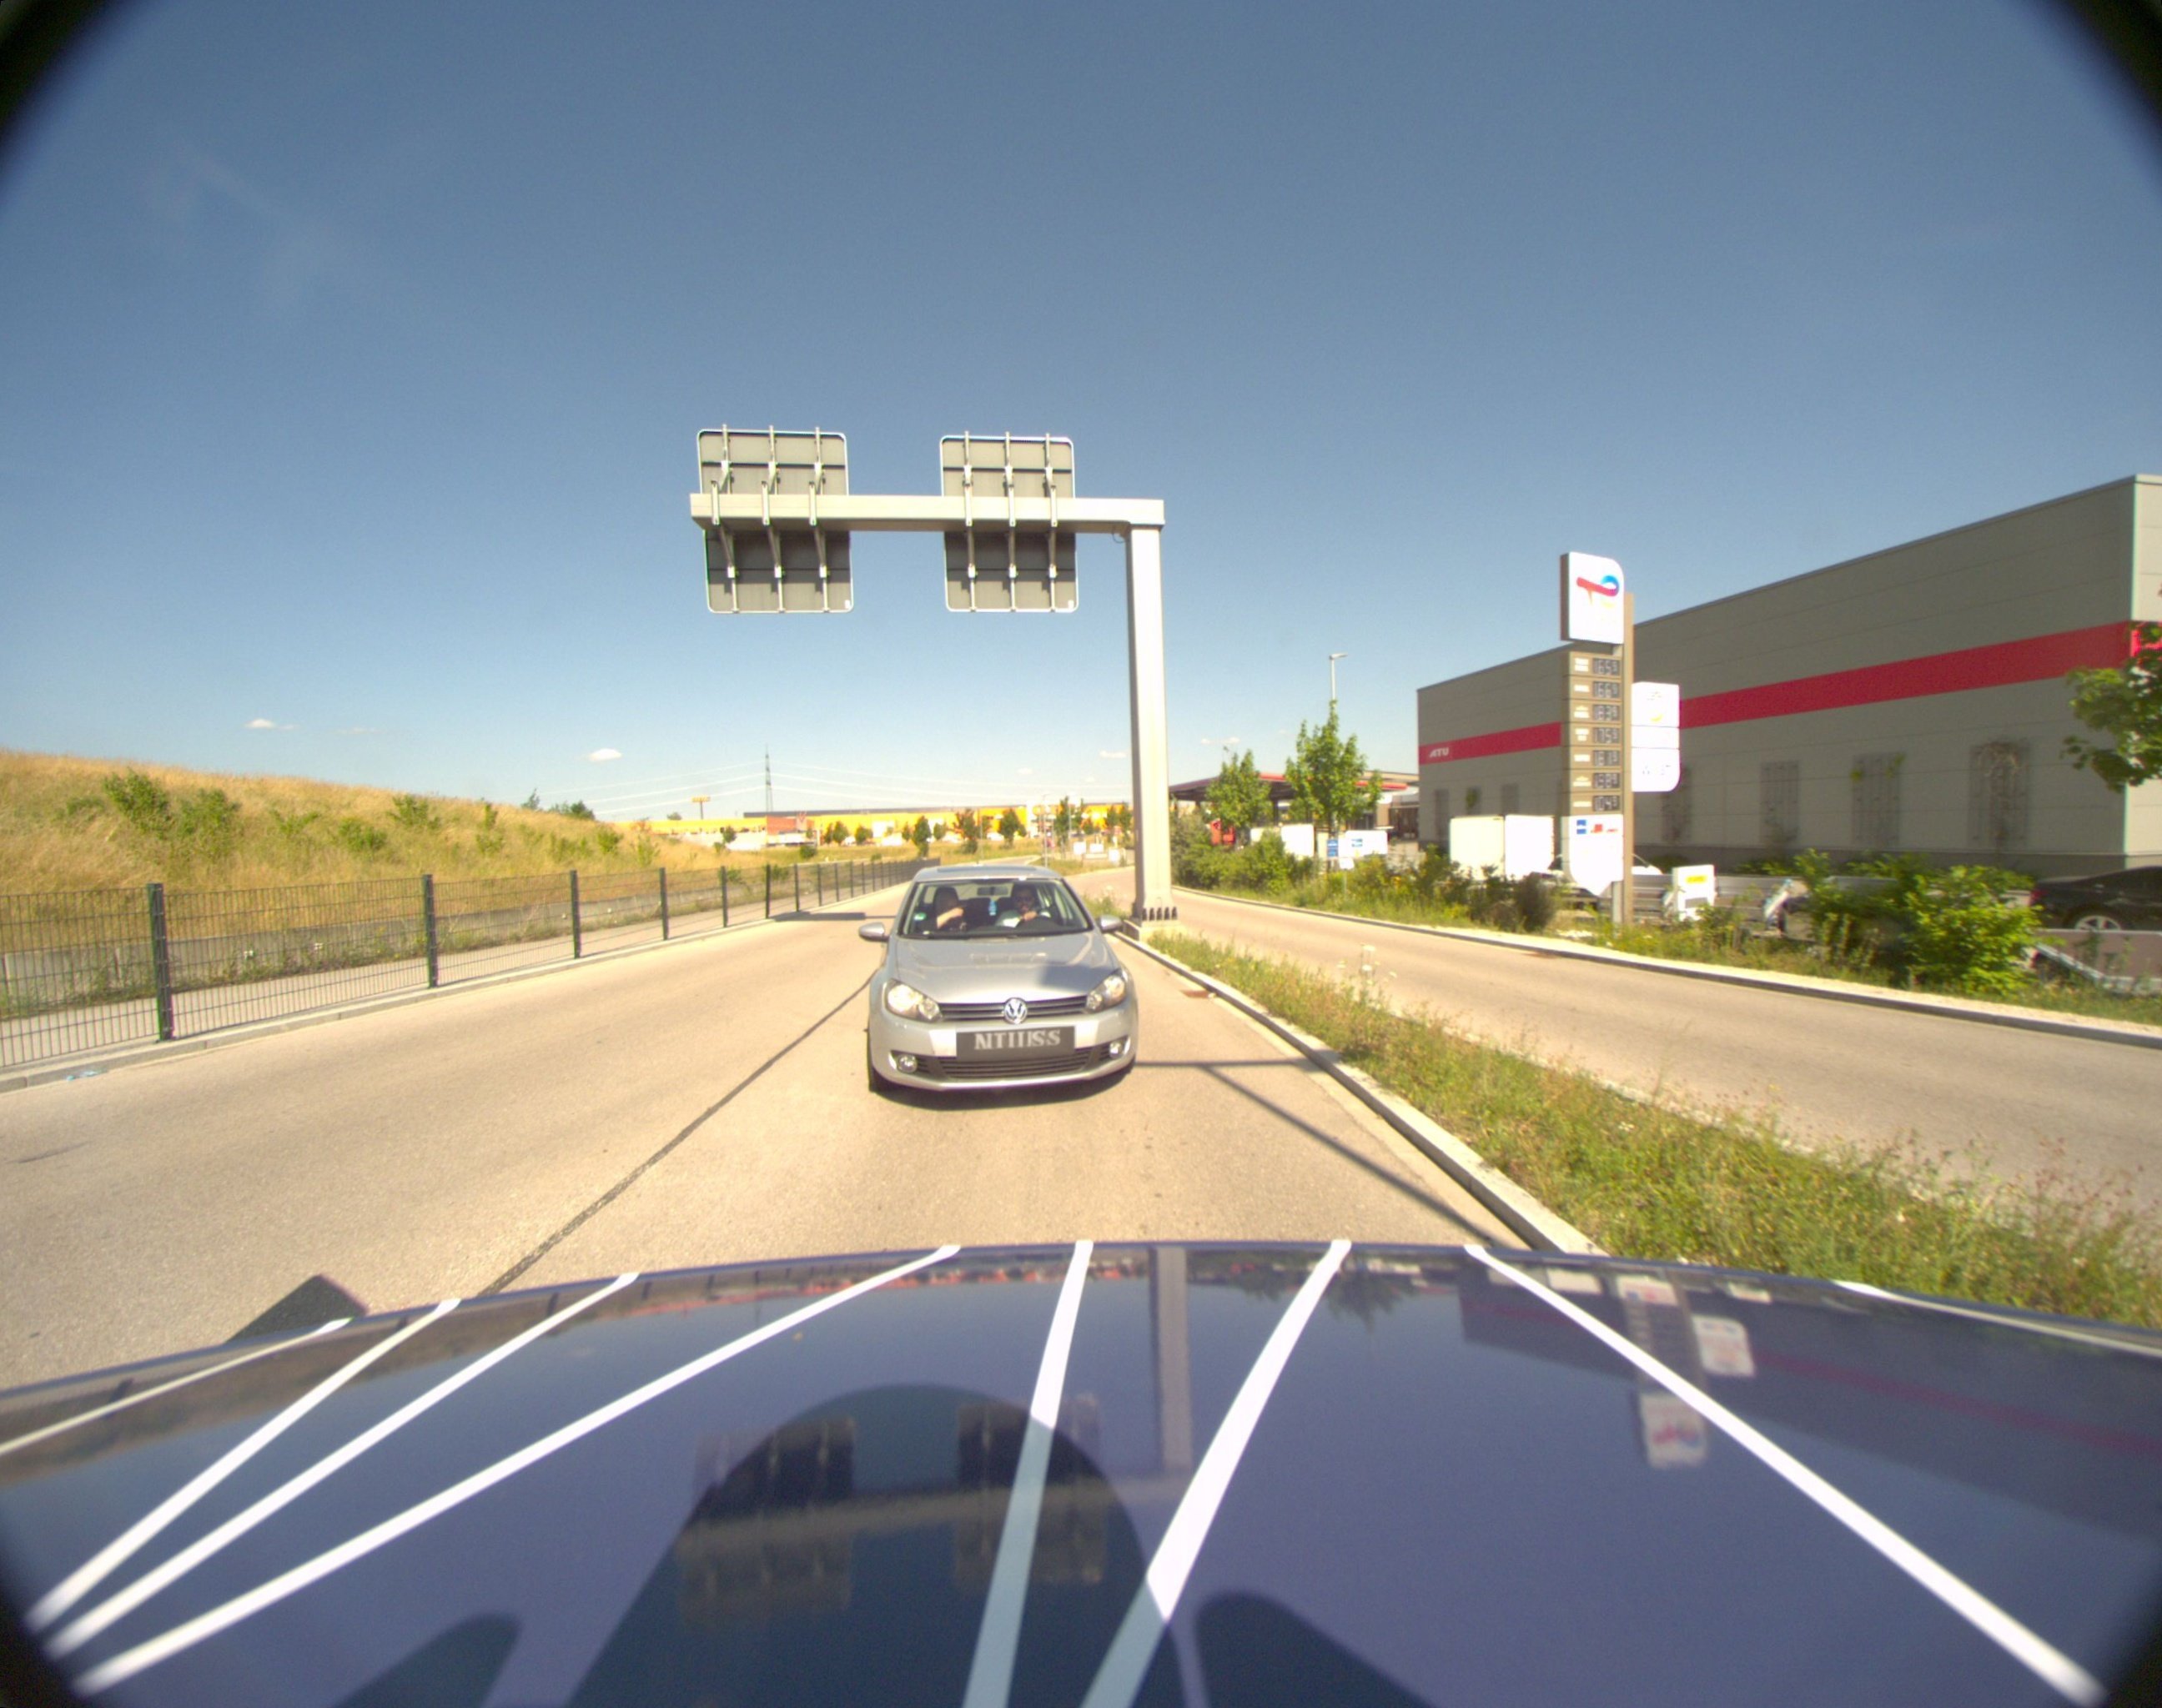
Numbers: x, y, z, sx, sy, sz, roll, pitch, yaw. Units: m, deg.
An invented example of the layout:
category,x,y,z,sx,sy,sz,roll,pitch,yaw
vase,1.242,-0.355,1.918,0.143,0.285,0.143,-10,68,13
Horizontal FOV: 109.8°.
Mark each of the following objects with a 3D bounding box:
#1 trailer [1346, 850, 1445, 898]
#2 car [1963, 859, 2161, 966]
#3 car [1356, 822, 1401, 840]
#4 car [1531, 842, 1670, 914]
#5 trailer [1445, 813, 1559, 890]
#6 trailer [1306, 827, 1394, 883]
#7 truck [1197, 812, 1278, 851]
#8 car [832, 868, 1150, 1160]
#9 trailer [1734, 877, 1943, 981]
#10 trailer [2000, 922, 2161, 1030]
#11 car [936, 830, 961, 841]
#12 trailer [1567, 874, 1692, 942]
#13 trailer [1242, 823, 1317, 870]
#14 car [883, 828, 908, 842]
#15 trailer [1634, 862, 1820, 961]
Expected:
category,x,y,z,sx,sy,sz,roll,pitch,yaw
trailer,11.529,0.685,27.793,3.605,1.502,1.596,-4,1,-34
car,17.040,0.895,11.560,1.803,1.475,4.494,-3,1,-6
car,29.191,-2.269,74.655,3.683,1.566,1.695,-3,2,-1
car,13.537,0.556,19.736,4.006,1.527,1.714,-4,2,-36
trailer,12.299,-0.112,22.165,3.245,2.002,1.743,-4,2,-38
trailer,10.711,0.017,30.270,2.741,2.002,1.995,-4,2,-34
truck,14.754,-2.143,71.699,6.910,3.300,2.637,-3,2,-17
car,-0.742,0.905,6.184,1.747,1.459,3.957,0,1,-8
trailer,12.313,1.142,12.363,2.915,1.314,1.387,-3,2,-22
trailer,13.421,1.530,9.873,2.842,0.877,1.861,-4,2,-39
car,-26.450,-3.760,151.463,4.637,2.002,1.998,-3,2,-11
trailer,11.345,1.049,15.669,2.780,1.080,1.317,-4,2,-37
trailer,9.252,-0.363,35.352,1.994,2.002,3.212,-1,2,44
car,-36.584,-3.653,149.899,4.637,2.534,1.998,-3,2,-11
trailer,11.995,0.969,14.097,3.195,1.475,1.545,-3,2,-28
